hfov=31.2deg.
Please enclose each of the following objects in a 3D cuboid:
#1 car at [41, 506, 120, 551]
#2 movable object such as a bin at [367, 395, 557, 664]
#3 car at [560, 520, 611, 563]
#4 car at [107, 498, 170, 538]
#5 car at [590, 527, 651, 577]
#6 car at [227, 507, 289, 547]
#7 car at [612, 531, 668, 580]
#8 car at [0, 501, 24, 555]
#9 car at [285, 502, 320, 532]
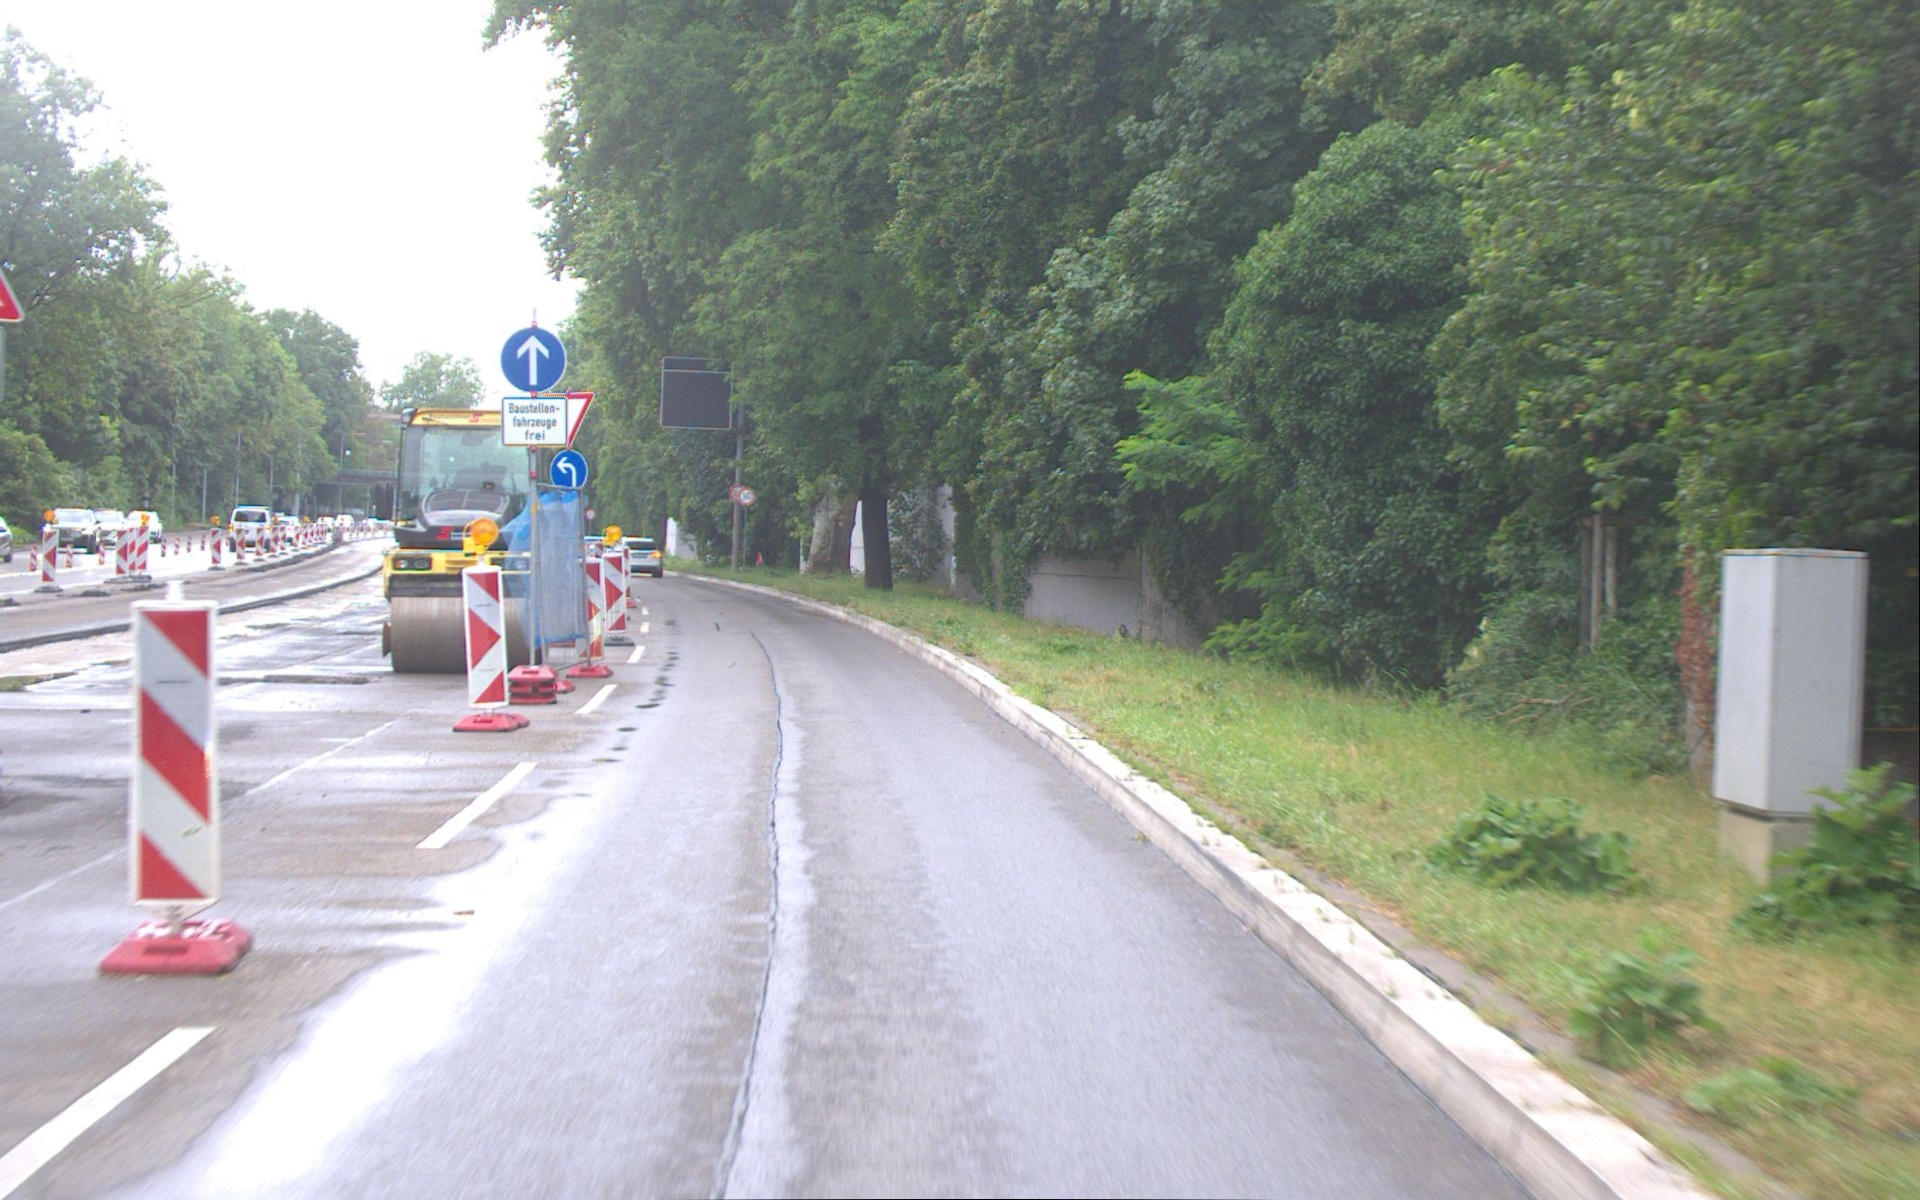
[{"bbox_3d":[-33.797,-2.745,132.152,1.927,1.659,4.653,1,1,-1],"label":"car"},{"bbox_3d":[-5.527,-0.789,38.524,1.746,2.857,3.535,1,1,-3],"label":"movable object such as a bin"},{"bbox_3d":[-13.530,-2.123,124.183,1.756,1.339,4.001,3,2,-7],"label":"car"},{"bbox_3d":[-34.726,-3.462,145.465,1.927,1.659,4.653,1,1,-5],"label":"car"},{"bbox_3d":[-10.532,-1.500,106.360,1.756,1.339,4.001,3,2,-7],"label":"car"},{"bbox_3d":[-31.739,-3.302,155.504,1.927,1.772,4.653,1,1,-1],"label":"car"},{"bbox_3d":[-11.828,-1.657,126.782,1.913,1.592,4.835,2,2,-7],"label":"car"},{"bbox_3d":[-30.260,-2.214,105.386,1.927,1.659,4.653,1,1,-1],"label":"car"},{"bbox_3d":[-36.239,-4.572,189.570,1.564,1.452,3.381,4,2,-15],"label":"car"}]
